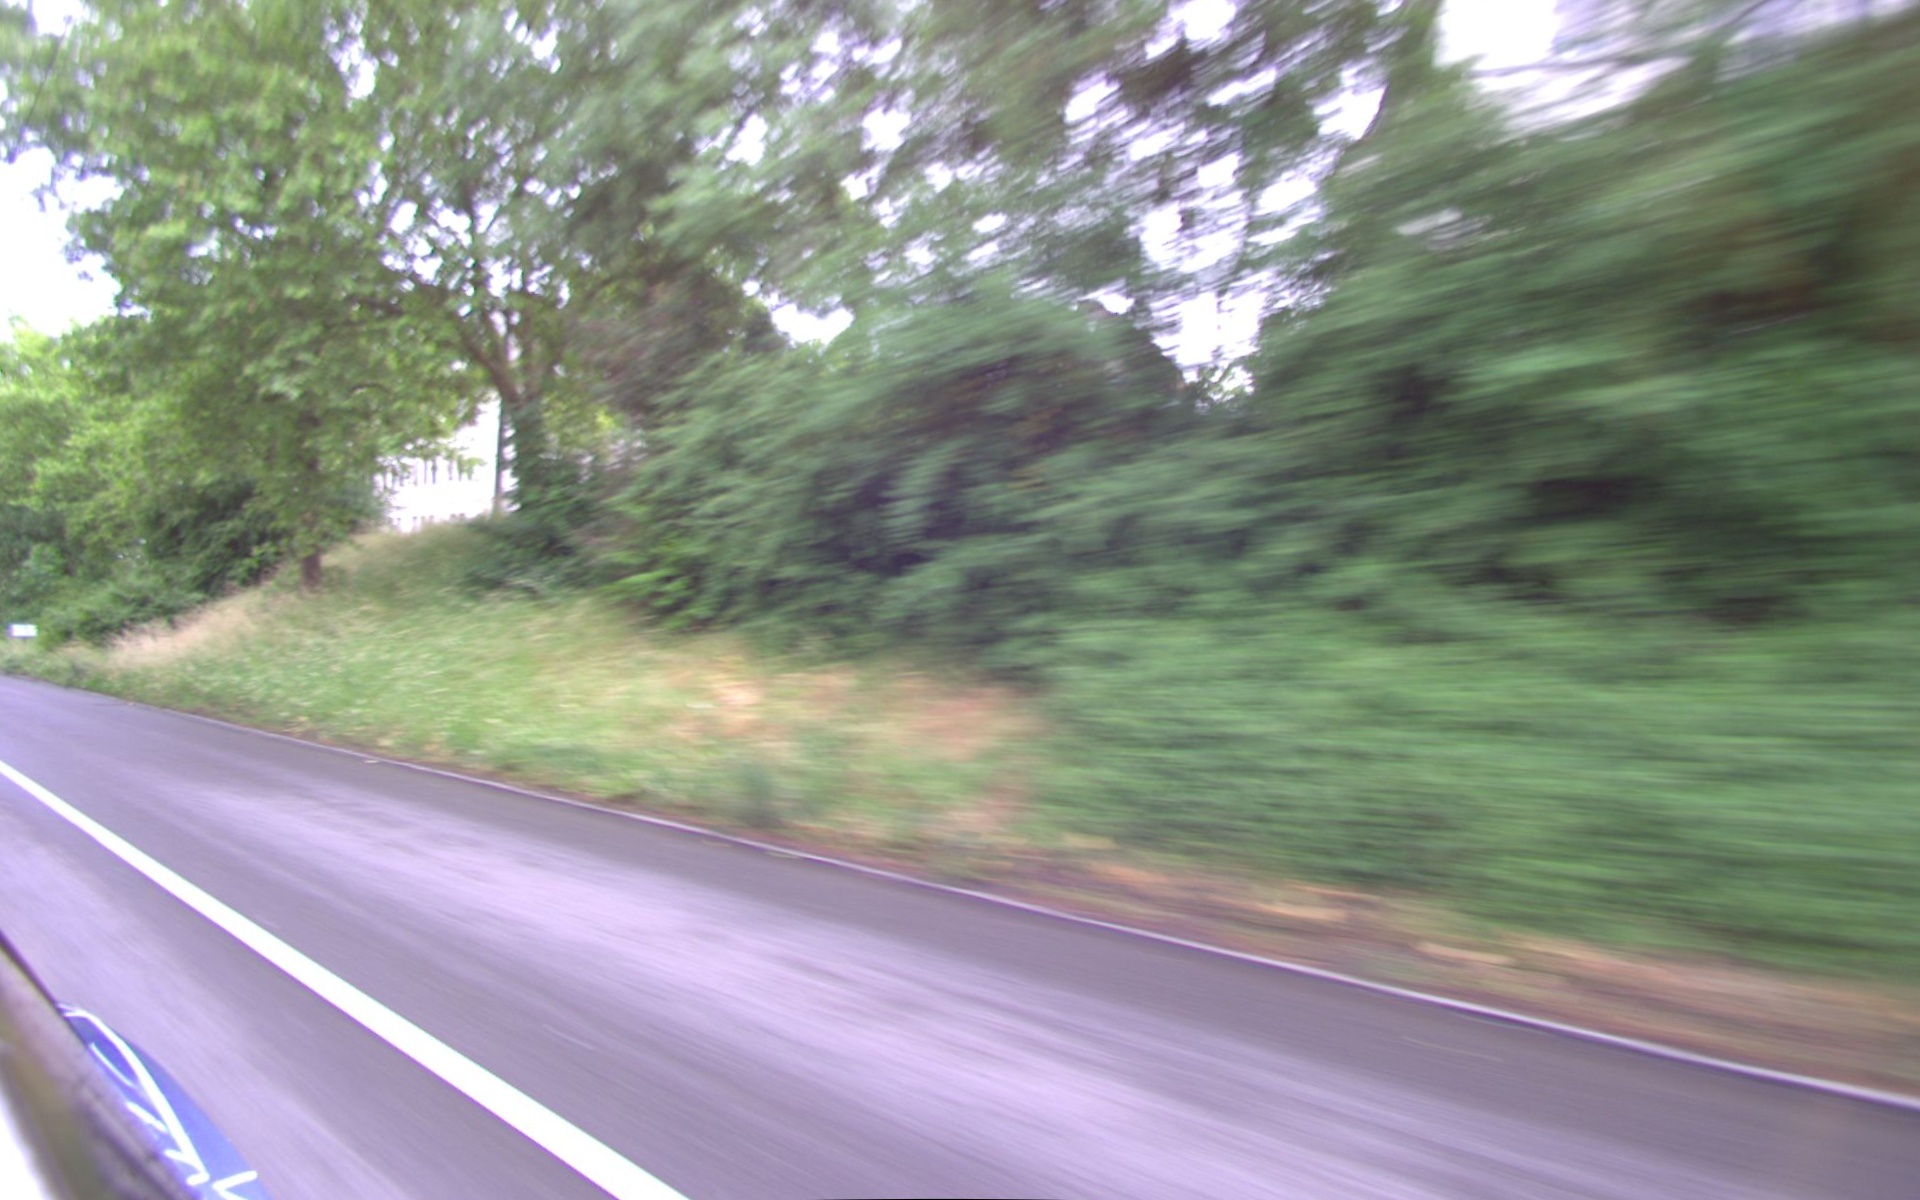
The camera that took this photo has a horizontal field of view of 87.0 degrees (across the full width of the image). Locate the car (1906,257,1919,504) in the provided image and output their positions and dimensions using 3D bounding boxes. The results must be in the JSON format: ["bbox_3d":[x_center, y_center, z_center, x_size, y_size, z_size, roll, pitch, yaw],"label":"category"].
[{"bbox_3d":[9.960,-1.934,7.350,4.346,2.029,1.974,-1,0,40],"label":"car"}]
